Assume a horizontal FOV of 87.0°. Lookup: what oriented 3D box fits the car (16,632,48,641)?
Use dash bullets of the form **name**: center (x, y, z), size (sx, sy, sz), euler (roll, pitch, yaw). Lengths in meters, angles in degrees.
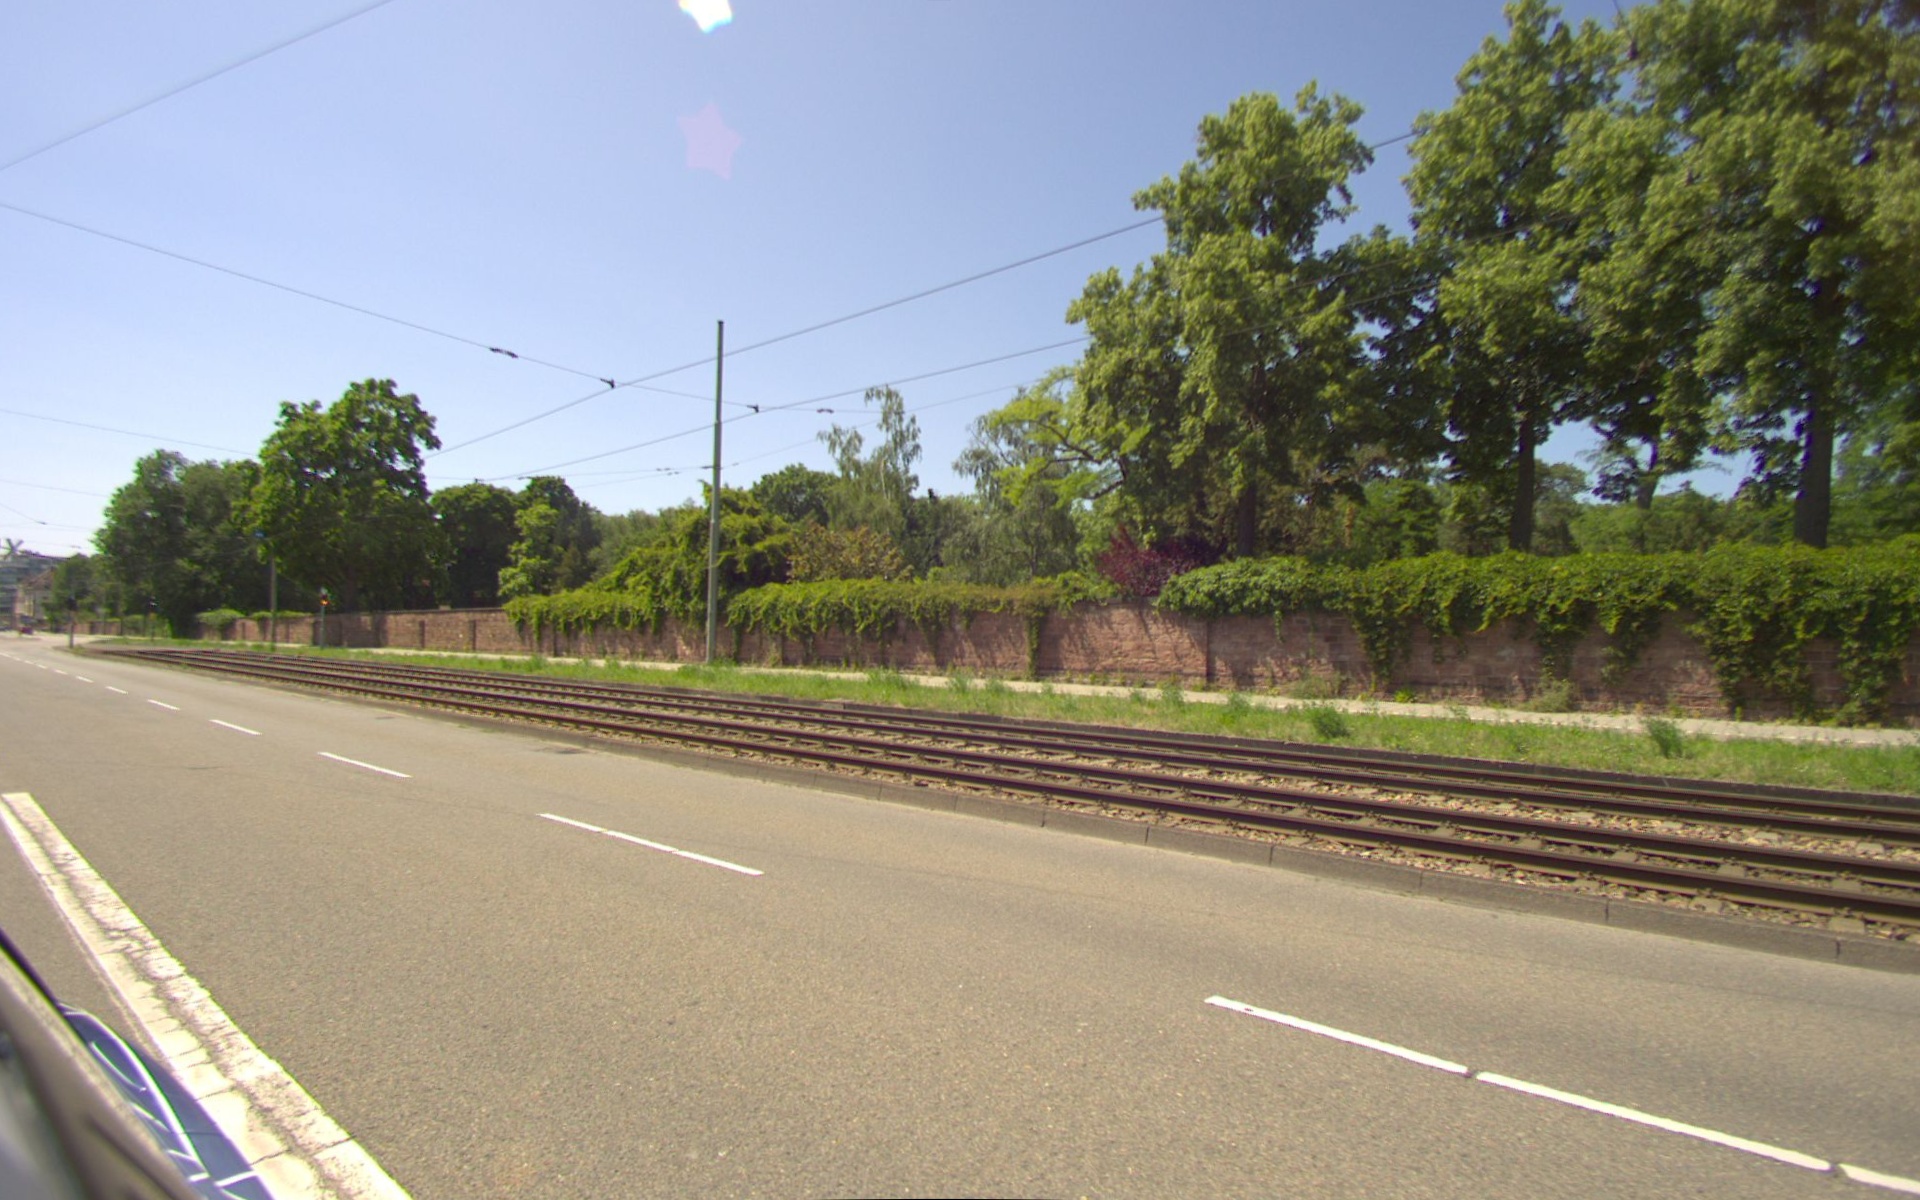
- **car**: center (-157.312, 6.242, 171.580), size (1.687, 1.424, 4.282), euler (-1, -1, -2)
